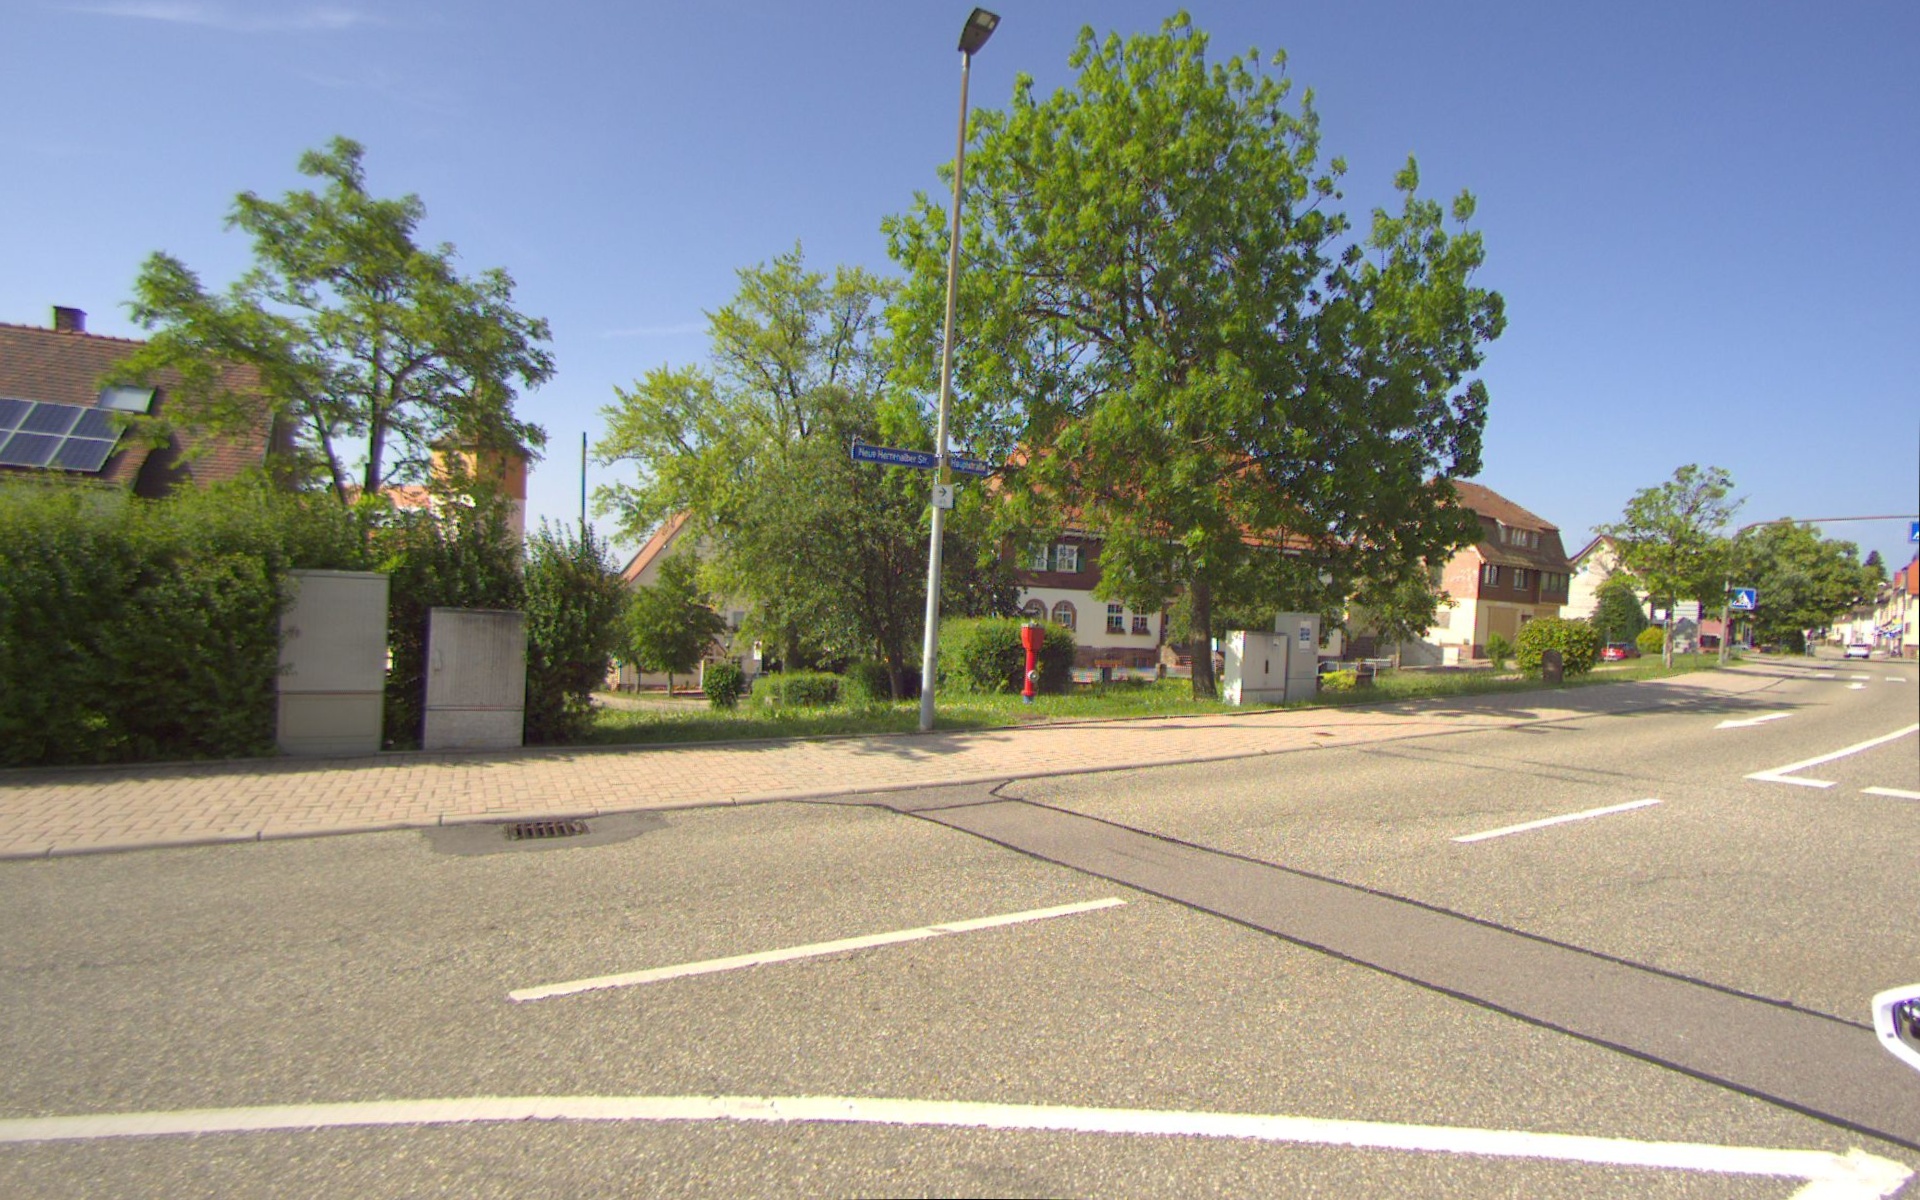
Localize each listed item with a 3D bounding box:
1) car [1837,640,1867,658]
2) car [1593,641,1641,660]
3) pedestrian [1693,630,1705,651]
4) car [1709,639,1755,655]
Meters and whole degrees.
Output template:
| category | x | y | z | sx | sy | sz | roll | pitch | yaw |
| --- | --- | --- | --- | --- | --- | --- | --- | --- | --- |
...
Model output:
| category | x | y | z | sx | sy | sz | roll | pitch | yaw |
| --- | --- | --- | --- | --- | --- | --- | --- | --- | --- |
| car | 104.720 | 5.757 | 117.941 | 2.465 | 2.040 | 4.286 | -1 | -2 | 39 |
| car | 48.485 | 3.742 | 74.082 | 3.963 | 1.314 | 1.708 | 2 | -2 | -37 |
| pedestrian | 46.133 | 2.537 | 62.727 | 0.621 | 1.269 | 0.422 | 0 | -2 | 37 |
| car | 87.000 | 5.300 | 113.220 | 1.803 | 1.472 | 3.730 | 9 | -6 | -38 |
